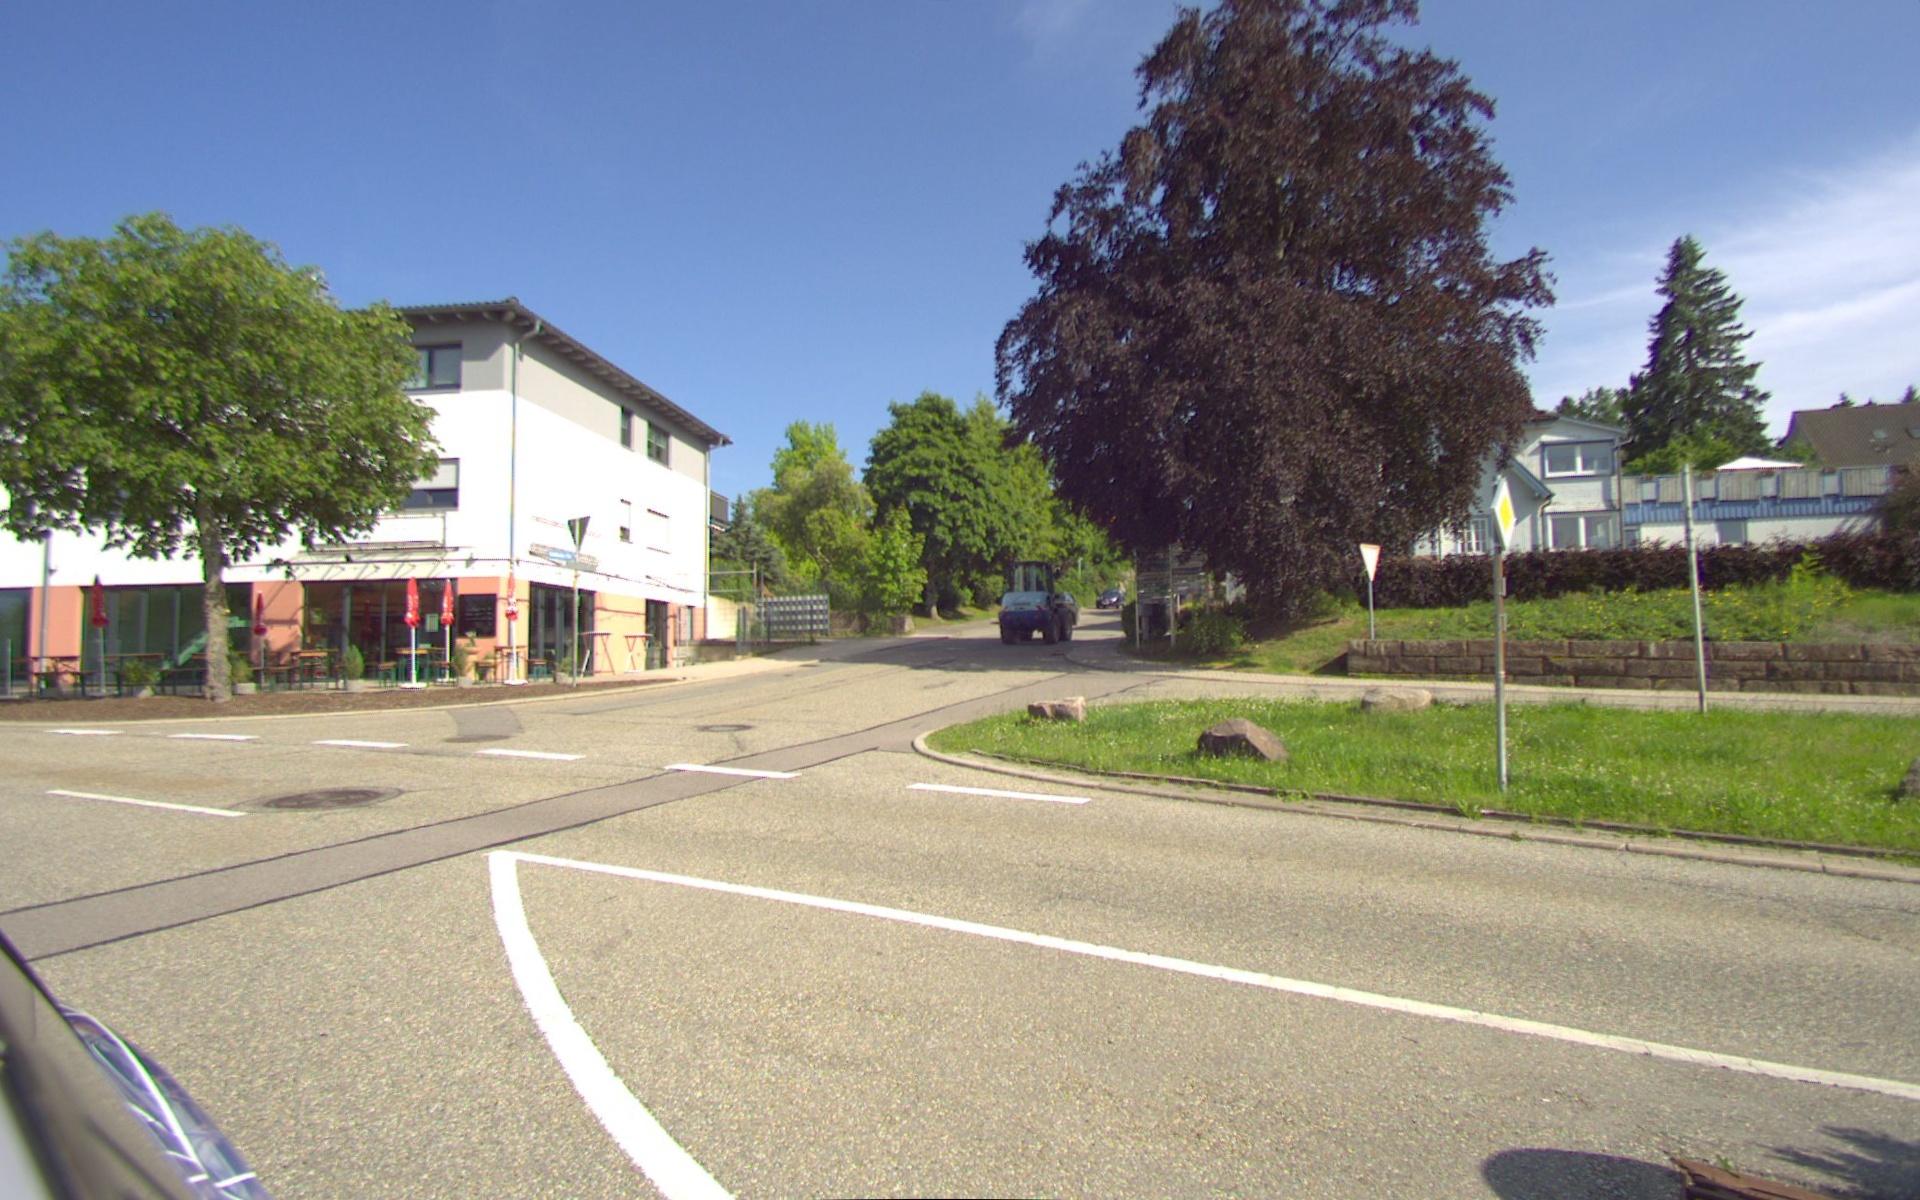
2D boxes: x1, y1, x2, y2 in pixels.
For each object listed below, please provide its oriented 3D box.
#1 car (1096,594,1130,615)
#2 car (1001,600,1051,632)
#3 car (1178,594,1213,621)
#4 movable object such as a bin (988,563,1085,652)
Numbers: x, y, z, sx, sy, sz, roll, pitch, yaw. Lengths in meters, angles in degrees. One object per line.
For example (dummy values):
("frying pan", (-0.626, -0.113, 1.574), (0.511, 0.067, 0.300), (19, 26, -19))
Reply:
("car", (11.333, 0.331, 74.721), (1.762, 1.481, 3.786), (-1, 0, 19))
("car", (3.402, 0.784, 51.741), (1.612, 1.509, 3.786), (-1, 0, 19))
("car", (15.142, 0.438, 64.916), (1.795, 1.613, 3.786), (-1, 0, 19))
("movable object such as a bin", (2.695, 0.252, 34.306), (1.985, 2.790, 5.071), (-1, -1, 20))
